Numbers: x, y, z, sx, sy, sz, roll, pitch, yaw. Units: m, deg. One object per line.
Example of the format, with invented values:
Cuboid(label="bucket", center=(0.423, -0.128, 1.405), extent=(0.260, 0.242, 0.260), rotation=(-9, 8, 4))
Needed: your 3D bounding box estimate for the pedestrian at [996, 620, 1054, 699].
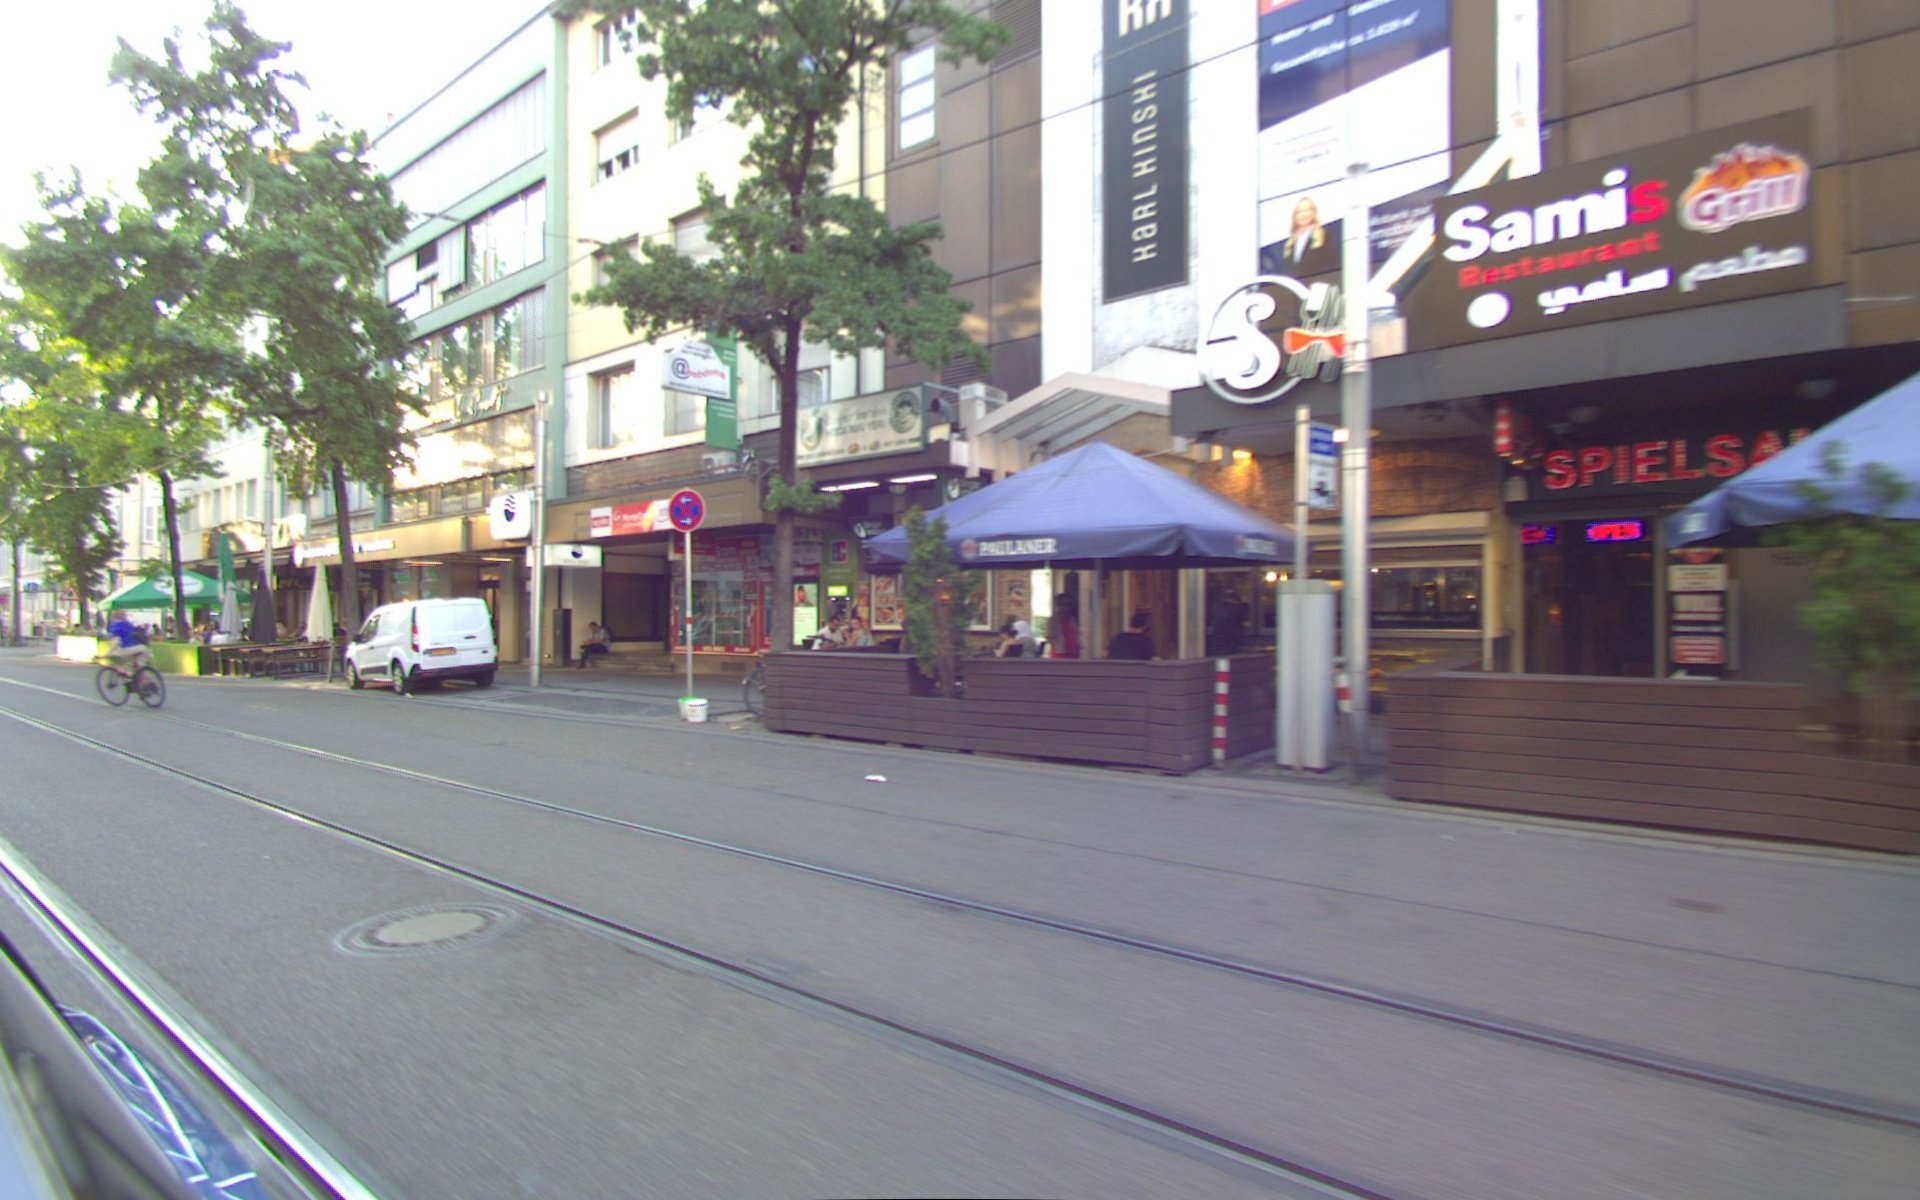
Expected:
Cuboid(label="pedestrian", center=(1.030, 0.925, 16.010), extent=(0.665, 1.165, 0.635), rotation=(0, 2, 38))

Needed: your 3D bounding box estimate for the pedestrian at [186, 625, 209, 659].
Cuboid(label="pedestrian", center=(-33.054, 1.811, 43.859), extent=(0.649, 1.471, 0.642), rotation=(-1, -2, 37))

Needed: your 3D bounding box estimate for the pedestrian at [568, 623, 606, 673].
Cuboid(label="pedestrian", center=(-9.184, 1.172, 24.916), extent=(0.648, 1.184, 0.642), rotation=(-1, -1, 35))

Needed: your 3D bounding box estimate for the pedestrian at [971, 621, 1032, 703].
Cuboid(label="pedestrian", center=(0.630, 0.924, 15.298), extent=(0.665, 1.165, 0.635), rotation=(0, 2, 38))

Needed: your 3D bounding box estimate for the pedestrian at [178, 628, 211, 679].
Cuboid(label="pedestrian", center=(-22.481, 1.564, 29.715), extent=(0.650, 1.471, 0.641), rotation=(-1, -2, 41))

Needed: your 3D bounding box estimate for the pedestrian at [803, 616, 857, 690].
Cuboid(label="pedestrian", center=(-2.314, 0.930, 18.050), extent=(0.665, 1.237, 0.635), rotation=(0, 3, 38))

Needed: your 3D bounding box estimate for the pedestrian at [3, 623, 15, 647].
Cuboid(label="pedestrian", center=(-59.716, 2.200, 63.547), extent=(0.543, 1.471, 0.484), rotation=(-1, -2, 38))

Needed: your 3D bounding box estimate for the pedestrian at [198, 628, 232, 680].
Cuboid(label="pedestrian", center=(-21.583, 1.556, 29.327), extent=(0.639, 1.471, 0.652), rotation=(0, -1, -20))

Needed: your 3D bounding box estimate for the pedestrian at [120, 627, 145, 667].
Cuboid(label="pedestrian", center=(-29.964, 1.692, 36.636), extent=(0.640, 1.397, 0.651), rotation=(1, -2, -43))

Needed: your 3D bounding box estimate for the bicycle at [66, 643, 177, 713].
Cuboid(label="bicycle", center=(-14.254, 1.307, 17.204), extent=(1.854, 1.081, 0.727), rotation=(0, 0, 24))

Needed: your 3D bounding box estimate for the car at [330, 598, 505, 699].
Cuboid(label="car", center=(-11.400, 0.959, 21.143), extent=(4.328, 1.835, 1.807), rotation=(-1, 1, 42))

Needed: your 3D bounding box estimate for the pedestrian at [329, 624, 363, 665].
Cuboid(label="pedestrian", center=(-20.202, 1.445, 33.308), extent=(0.785, 1.326, 0.693), rotation=(-1, -2, 36))

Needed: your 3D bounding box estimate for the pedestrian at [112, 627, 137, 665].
Cuboid(label="pedestrian", center=(-30.911, 1.703, 37.439), extent=(0.640, 1.397, 0.651), rotation=(1, -2, -43))

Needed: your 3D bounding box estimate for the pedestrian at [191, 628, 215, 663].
Cuboid(label="pedestrian", center=(-32.352, 1.945, 43.236), extent=(0.649, 1.471, 0.642), rotation=(-1, -2, 37))

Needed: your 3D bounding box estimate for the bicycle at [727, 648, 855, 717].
Cuboid(label="bicycle", center=(-2.445, 1.179, 14.598), extent=(1.813, 0.933, 0.477), rotation=(-1, 0, 20))

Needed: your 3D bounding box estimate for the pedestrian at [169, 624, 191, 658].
Cuboid(label="pedestrian", center=(-34.802, 1.830, 45.147), extent=(0.649, 1.471, 0.642), rotation=(-1, -2, 38))

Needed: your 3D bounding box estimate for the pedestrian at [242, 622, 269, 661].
Cuboid(label="pedestrian", center=(-26.645, 1.572, 38.266), extent=(0.649, 1.471, 0.642), rotation=(-1, -2, 37))

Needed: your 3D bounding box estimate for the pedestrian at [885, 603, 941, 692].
Cuboid(label="pedestrian", center=(-0.804, 0.804, 17.435), extent=(0.642, 1.444, 0.654), rotation=(0, 3, 40))

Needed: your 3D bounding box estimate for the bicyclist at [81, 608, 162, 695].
Cuboid(label="bicyclist", center=(-14.239, 0.858, 17.197), extent=(0.892, 1.425, 0.755), rotation=(0, 0, 24))

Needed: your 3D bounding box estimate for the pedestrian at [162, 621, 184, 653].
Cuboid(label="pedestrian", center=(-35.979, 1.690, 46.254), extent=(0.649, 1.471, 0.642), rotation=(-1, -2, 38))

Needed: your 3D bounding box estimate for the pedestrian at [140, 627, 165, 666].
Cuboid(label="pedestrian", center=(-29.570, 1.692, 37.070), extent=(0.640, 1.397, 0.651), rotation=(1, -2, -43))

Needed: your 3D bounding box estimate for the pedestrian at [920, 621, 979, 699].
Cuboid(label="pedestrian", center=(-0.170, 0.933, 16.017), extent=(0.665, 1.165, 0.635), rotation=(0, 2, 38))

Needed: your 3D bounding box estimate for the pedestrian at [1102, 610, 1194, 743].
Cuboid(label="pedestrian", center=(2.156, 0.841, 11.582), extent=(0.746, 1.411, 0.756), rotation=(0, 2, 39))

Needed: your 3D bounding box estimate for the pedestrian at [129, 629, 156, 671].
Cuboid(label="pedestrian", center=(-27.285, 1.657, 33.774), extent=(0.640, 1.397, 0.651), rotation=(1, -2, -43))

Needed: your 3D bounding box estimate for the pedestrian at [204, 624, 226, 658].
Cuboid(label="pedestrian", center=(-32.734, 1.812, 44.462), extent=(0.649, 1.471, 0.642), rotation=(-1, -2, 38))

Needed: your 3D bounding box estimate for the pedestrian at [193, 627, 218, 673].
Cuboid(label="pedestrian", center=(-24.131, 1.591, 32.369), extent=(0.639, 1.471, 0.651), rotation=(1, -2, -37))

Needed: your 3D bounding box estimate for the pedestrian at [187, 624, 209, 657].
Cuboid(label="pedestrian", center=(-34.405, 1.831, 45.720), extent=(0.649, 1.471, 0.642), rotation=(-1, -2, 38))

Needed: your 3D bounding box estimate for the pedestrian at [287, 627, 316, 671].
Cuboid(label="pedestrian", center=(-22.486, 1.667, 34.572), extent=(0.649, 1.471, 0.642), rotation=(-1, -2, 38))

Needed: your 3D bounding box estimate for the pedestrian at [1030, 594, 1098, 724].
Cuboid(label="pedestrian", center=(1.313, 0.718, 12.722), extent=(0.564, 1.564, 0.650), rotation=(0, 1, 38))

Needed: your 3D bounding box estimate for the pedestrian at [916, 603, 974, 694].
Cuboid(label="pedestrian", center=(-0.248, 0.798, 16.980), extent=(0.642, 1.444, 0.654), rotation=(0, 3, 40))

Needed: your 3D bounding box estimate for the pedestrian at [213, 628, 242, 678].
Cuboid(label="pedestrian", center=(-21.863, 1.563, 30.221), extent=(0.639, 1.471, 0.652), rotation=(1, -2, -33))

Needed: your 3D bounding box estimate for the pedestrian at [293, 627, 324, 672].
Cuboid(label="pedestrian", center=(-21.814, 1.659, 33.885), extent=(0.648, 1.471, 0.643), rotation=(-1, -2, 31))

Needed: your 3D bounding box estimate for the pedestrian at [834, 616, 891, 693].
Cuboid(label="pedestrian", center=(-1.678, 0.922, 17.407), extent=(0.665, 1.237, 0.635), rotation=(0, 3, 38))

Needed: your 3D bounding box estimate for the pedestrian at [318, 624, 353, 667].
Cuboid(label="pedestrian", center=(-19.888, 1.437, 32.238), extent=(0.785, 1.326, 0.693), rotation=(-1, -2, 36))

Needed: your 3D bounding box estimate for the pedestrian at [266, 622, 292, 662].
Cuboid(label="pedestrian", center=(-25.624, 1.564, 38.066), extent=(0.649, 1.471, 0.642), rotation=(-1, -2, 37))

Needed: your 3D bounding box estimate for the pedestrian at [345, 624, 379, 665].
Cuboid(label="pedestrian", center=(-19.385, 1.437, 32.790), extent=(0.785, 1.326, 0.693), rotation=(-1, -2, 36))
